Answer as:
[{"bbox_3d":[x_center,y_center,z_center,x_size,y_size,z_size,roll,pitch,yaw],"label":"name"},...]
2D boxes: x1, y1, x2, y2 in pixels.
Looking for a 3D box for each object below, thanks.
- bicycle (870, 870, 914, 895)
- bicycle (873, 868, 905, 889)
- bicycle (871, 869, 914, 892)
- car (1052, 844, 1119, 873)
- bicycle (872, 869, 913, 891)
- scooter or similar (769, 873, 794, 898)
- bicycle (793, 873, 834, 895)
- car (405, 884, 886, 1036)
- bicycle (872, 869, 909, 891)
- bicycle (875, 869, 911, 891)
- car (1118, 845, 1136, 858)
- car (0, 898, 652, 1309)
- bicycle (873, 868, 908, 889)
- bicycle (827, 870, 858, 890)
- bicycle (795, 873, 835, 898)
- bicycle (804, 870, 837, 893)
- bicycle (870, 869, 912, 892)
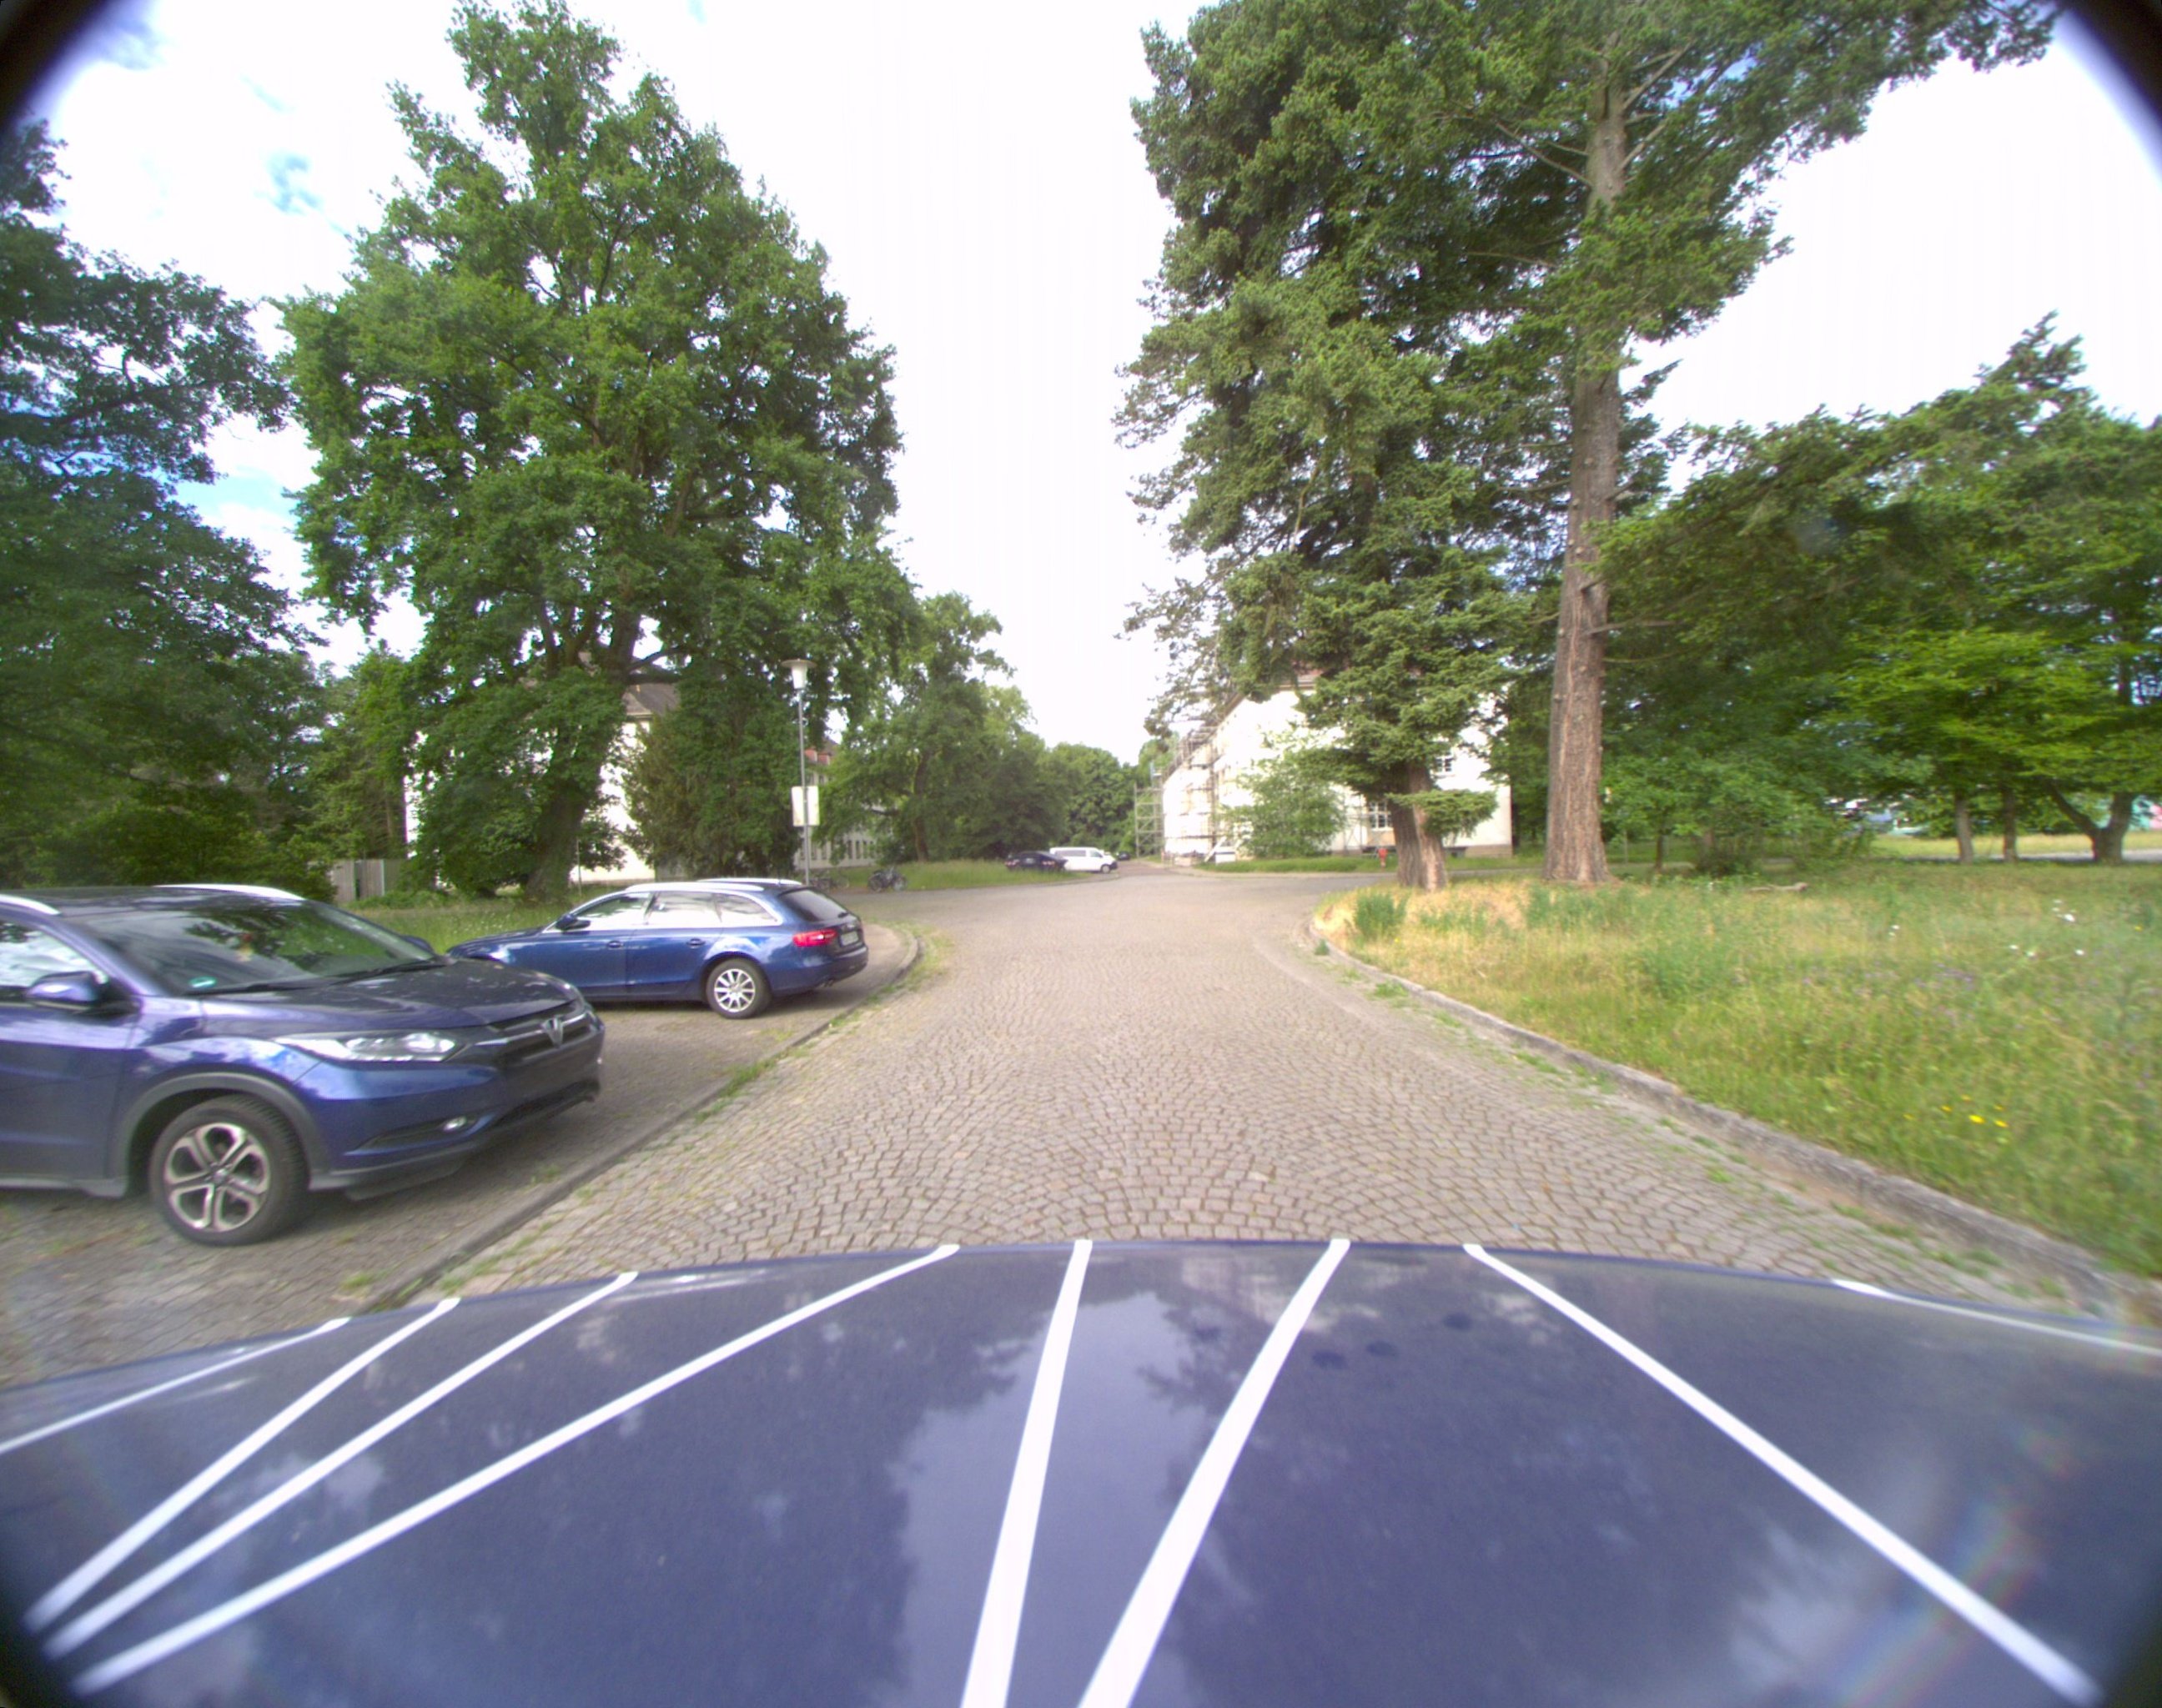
[{"bbox_3d":[-9.303,1.389,37.385,2.019,1.082,0.478,-2,3,-20],"label":"bicycle"},{"bbox_3d":[-11.041,1.395,43.690,1.753,1.082,0.552,-2,3,-20],"label":"bicycle"},{"bbox_3d":[-9.402,1.322,37.864,2.019,1.004,0.478,-2,3,-20],"label":"bicycle"},{"bbox_3d":[0.339,0.312,57.455,4.915,1.983,2.000,-2,0,-1],"label":"car"},{"bbox_3d":[-9.801,1.346,39.584,2.019,1.082,0.478,-2,3,-20],"label":"bicycle"},{"bbox_3d":[-14.579,1.536,36.998,1.063,1.188,0.385,-2,1,4],"label":"scooter or similar"},{"bbox_3d":[-13.472,1.494,38.252,1.859,0.984,0.455,-2,1,-26],"label":"bicycle"},{"bbox_3d":[-4.788,1.139,8.781,4.514,1.456,1.896,-1,0,5],"label":"car"},{"bbox_3d":[-10.328,1.391,41.105,1.868,1.082,0.519,-2,3,-20],"label":"bicycle"},{"bbox_3d":[-10.006,1.386,40.377,1.790,1.082,0.478,-2,3,-20],"label":"bicycle"},{"bbox_3d":[7.450,-0.383,123.569,2.028,1.915,3.997,-2,0,-9],"label":"car"},{"bbox_3d":[-4.995,1.106,4.081,4.273,1.564,1.895,-1,0,1],"label":"car"},{"bbox_3d":[-10.773,1.390,42.957,1.810,1.082,0.552,-2,3,-20],"label":"bicycle"},{"bbox_3d":[-13.311,1.443,42.394,1.568,1.028,0.475,-2,1,-23],"label":"bicycle"},{"bbox_3d":[-13.227,1.555,37.751,1.815,1.082,0.478,-2,3,-26],"label":"bicycle"},{"bbox_3d":[-13.710,1.437,40.011,1.568,1.082,0.561,-2,1,-29],"label":"bicycle"},{"bbox_3d":[-9.749,1.364,38.945,2.019,1.082,0.478,-2,3,-20],"label":"bicycle"}]
